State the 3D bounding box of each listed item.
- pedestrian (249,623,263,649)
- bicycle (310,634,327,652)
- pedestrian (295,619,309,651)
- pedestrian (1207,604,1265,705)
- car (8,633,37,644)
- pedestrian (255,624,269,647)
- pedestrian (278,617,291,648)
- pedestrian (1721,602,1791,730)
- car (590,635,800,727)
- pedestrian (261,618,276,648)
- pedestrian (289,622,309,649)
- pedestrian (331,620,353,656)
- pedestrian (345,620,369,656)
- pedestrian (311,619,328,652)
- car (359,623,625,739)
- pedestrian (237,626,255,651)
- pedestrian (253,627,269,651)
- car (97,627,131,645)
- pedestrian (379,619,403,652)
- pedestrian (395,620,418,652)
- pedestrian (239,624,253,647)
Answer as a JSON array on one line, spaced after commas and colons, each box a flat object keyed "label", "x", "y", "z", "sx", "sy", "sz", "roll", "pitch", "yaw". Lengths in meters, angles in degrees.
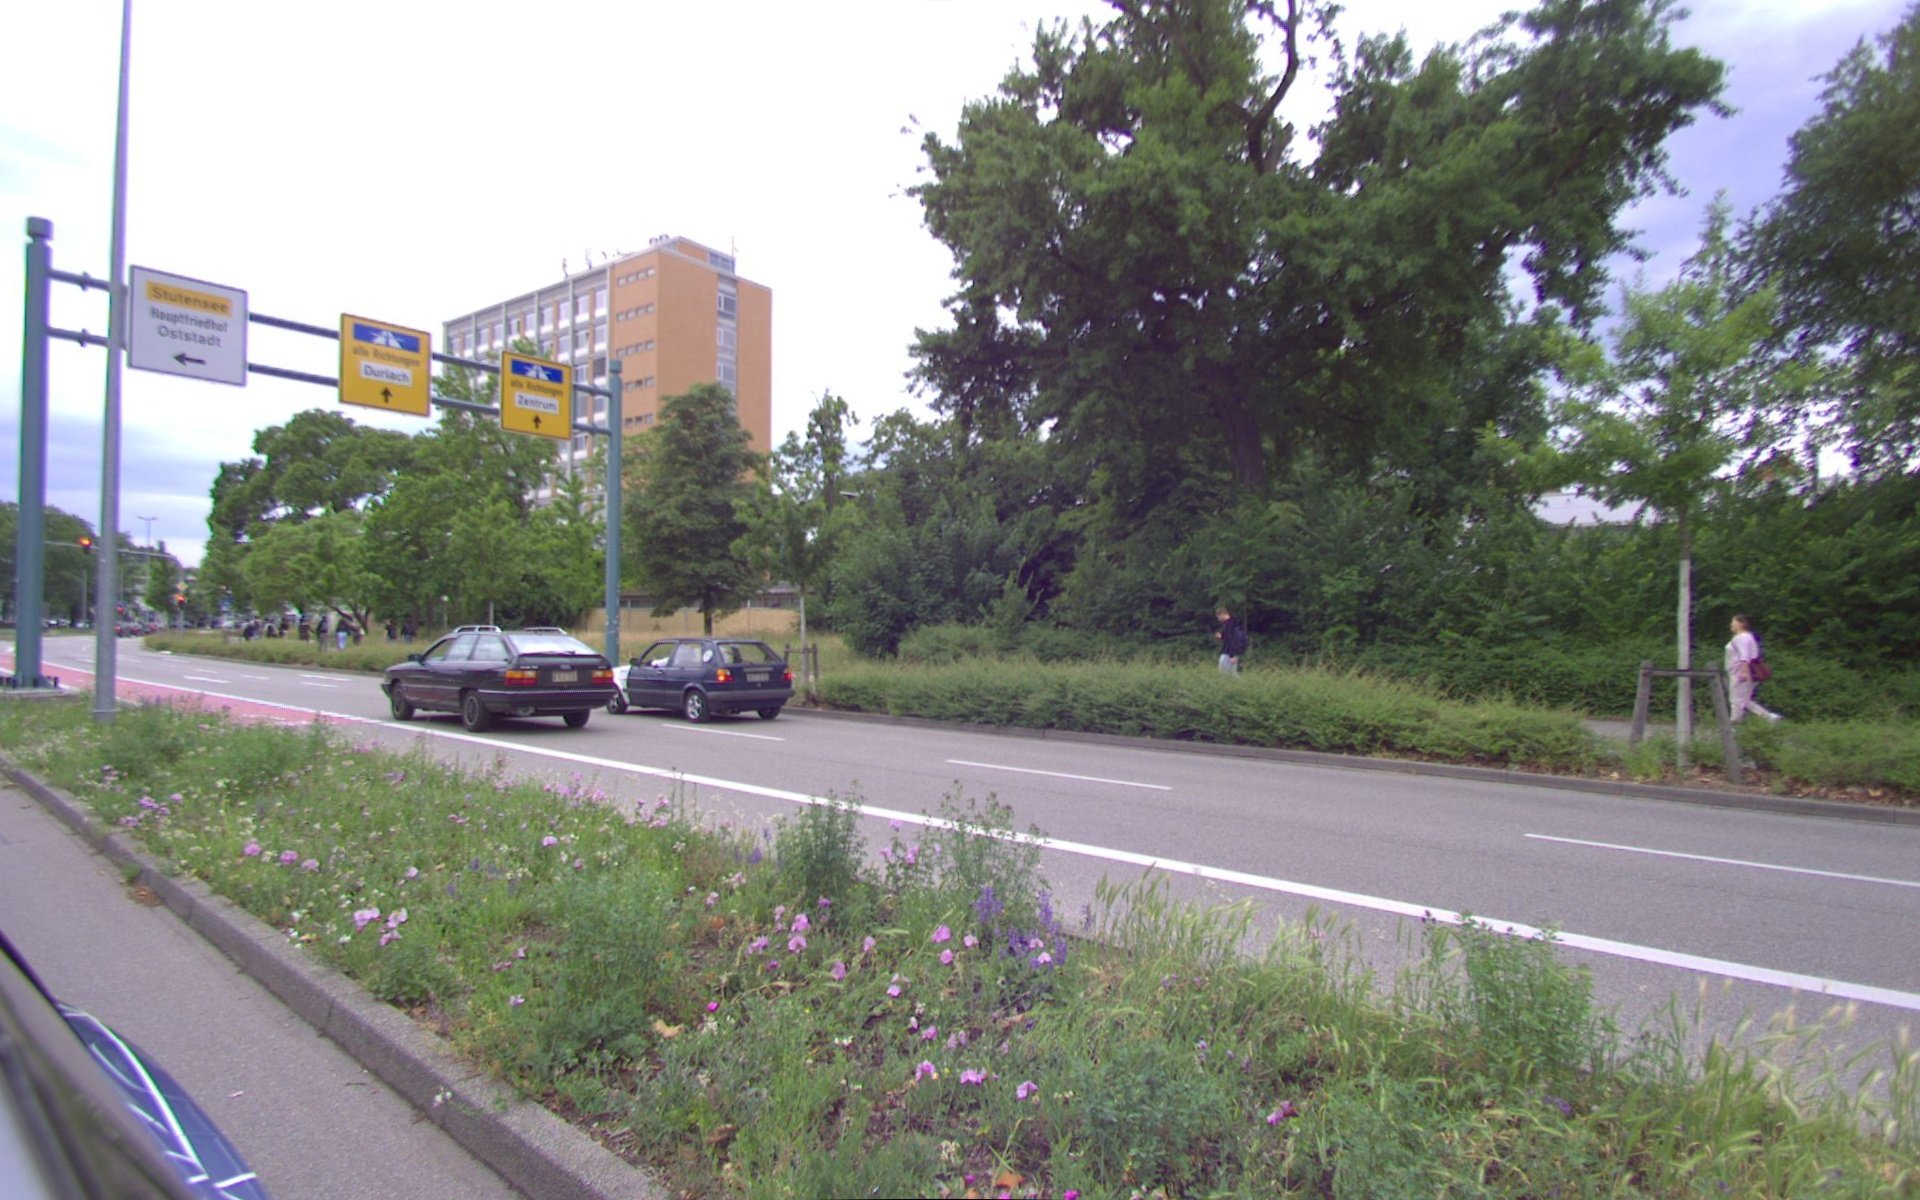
[{"label": "pedestrian", "x": -49.886, "y": 2.565, "z": 71.701, "sx": 0.762, "sy": 1.815, "sz": 0.630, "roll": -2, "pitch": -3, "yaw": 44}, {"label": "bicycle", "x": -32.783, "y": 2.218, "z": 51.741, "sx": 0.652, "sy": 0.894, "sz": 1.719, "roll": 3, "pitch": -3, "yaw": -34}, {"label": "pedestrian", "x": -33.375, "y": 1.791, "z": 51.334, "sx": 0.567, "sy": 1.621, "sz": 0.618, "roll": 3, "pitch": -4, "yaw": -33}, {"label": "pedestrian", "x": 4.884, "y": 0.961, "z": 17.911, "sx": 0.818, "sy": 1.742, "sz": 0.613, "roll": -2, "pitch": -4, "yaw": 41}, {"label": "car", "x": -109.088, "y": 4.460, "z": 117.790, "sx": 1.756, "sy": 1.271, "sz": 3.541, "roll": 0, "pitch": -1, "yaw": -31}, {"label": "pedestrian", "x": -52.131, "y": 2.618, "z": 75.558, "sx": 0.890, "sy": 1.683, "sz": 0.698, "roll": -2, "pitch": -1, "yaw": 45}, {"label": "pedestrian", "x": -39.097, "y": 1.890, "z": 58.557, "sx": 0.571, "sy": 1.725, "sz": 0.764, "roll": 3, "pitch": -4, "yaw": -33}, {"label": "pedestrian", "x": 10.670, "y": 0.879, "z": 13.564, "sx": 0.671, "sy": 1.648, "sz": 0.693, "roll": -2, "pitch": -4, "yaw": 41}, {"label": "car", "x": -4.585, "y": 1.313, "z": 17.256, "sx": 3.807, "sy": 1.391, "sz": 1.591, "roll": -2, "pitch": -4, "yaw": 41}, {"label": "pedestrian", "x": -39.675, "y": 1.881, "z": 58.066, "sx": 0.613, "sy": 1.708, "sz": 0.748, "roll": 3, "pitch": -4, "yaw": -35}, {"label": "pedestrian", "x": -40.414, "y": 2.150, "z": 61.887, "sx": 0.823, "sy": 1.625, "sz": 0.631, "roll": -2, "pitch": -1, "yaw": 19}, {"label": "pedestrian", "x": -29.346, "y": 1.798, "z": 48.049, "sx": 0.719, "sy": 1.673, "sz": 0.580, "roll": -1, "pitch": -4, "yaw": 35}, {"label": "pedestrian", "x": -28.965, "y": 1.835, "z": 48.628, "sx": 0.766, "sy": 1.685, "sz": 0.700, "roll": -1, "pitch": -4, "yaw": 35}, {"label": "pedestrian", "x": -32.803, "y": 1.812, "z": 51.799, "sx": 0.652, "sy": 1.644, "sz": 0.765, "roll": 3, "pitch": -4, "yaw": -34}, {"label": "car", "x": -7.165, "y": 1.125, "z": 15.240, "sx": 4.788, "sy": 1.471, "sz": 1.746, "roll": -1, "pitch": -4, "yaw": 40}, {"label": "pedestrian", "x": -44.156, "y": 2.383, "z": 62.615, "sx": 0.813, "sy": 1.491, "sz": 0.720, "roll": -2, "pitch": -4, "yaw": 44}, {"label": "pedestrian", "x": -43.653, "y": 2.431, "z": 63.207, "sx": 0.762, "sy": 1.491, "sz": 0.628, "roll": -2, "pitch": -4, "yaw": 44}, {"label": "car", "x": -85.742, "y": 3.658, "z": 102.626, "sx": 1.785, "sy": 1.680, "sz": 3.962, "roll": 2, "pitch": -2, "yaw": -27}, {"label": "pedestrian", "x": -24.388, "y": 1.526, "z": 43.401, "sx": 0.711, "sy": 1.368, "sz": 0.638, "roll": -2, "pitch": -4, "yaw": 40}, {"label": "pedestrian", "x": -24.035, "y": 1.569, "z": 43.963, "sx": 0.680, "sy": 1.373, "sz": 0.638, "roll": -2, "pitch": -4, "yaw": 39}, {"label": "pedestrian", "x": -52.812, "y": 2.625, "z": 74.861, "sx": 0.943, "sy": 1.683, "sz": 0.698, "roll": -2, "pitch": -2, "yaw": 44}]
